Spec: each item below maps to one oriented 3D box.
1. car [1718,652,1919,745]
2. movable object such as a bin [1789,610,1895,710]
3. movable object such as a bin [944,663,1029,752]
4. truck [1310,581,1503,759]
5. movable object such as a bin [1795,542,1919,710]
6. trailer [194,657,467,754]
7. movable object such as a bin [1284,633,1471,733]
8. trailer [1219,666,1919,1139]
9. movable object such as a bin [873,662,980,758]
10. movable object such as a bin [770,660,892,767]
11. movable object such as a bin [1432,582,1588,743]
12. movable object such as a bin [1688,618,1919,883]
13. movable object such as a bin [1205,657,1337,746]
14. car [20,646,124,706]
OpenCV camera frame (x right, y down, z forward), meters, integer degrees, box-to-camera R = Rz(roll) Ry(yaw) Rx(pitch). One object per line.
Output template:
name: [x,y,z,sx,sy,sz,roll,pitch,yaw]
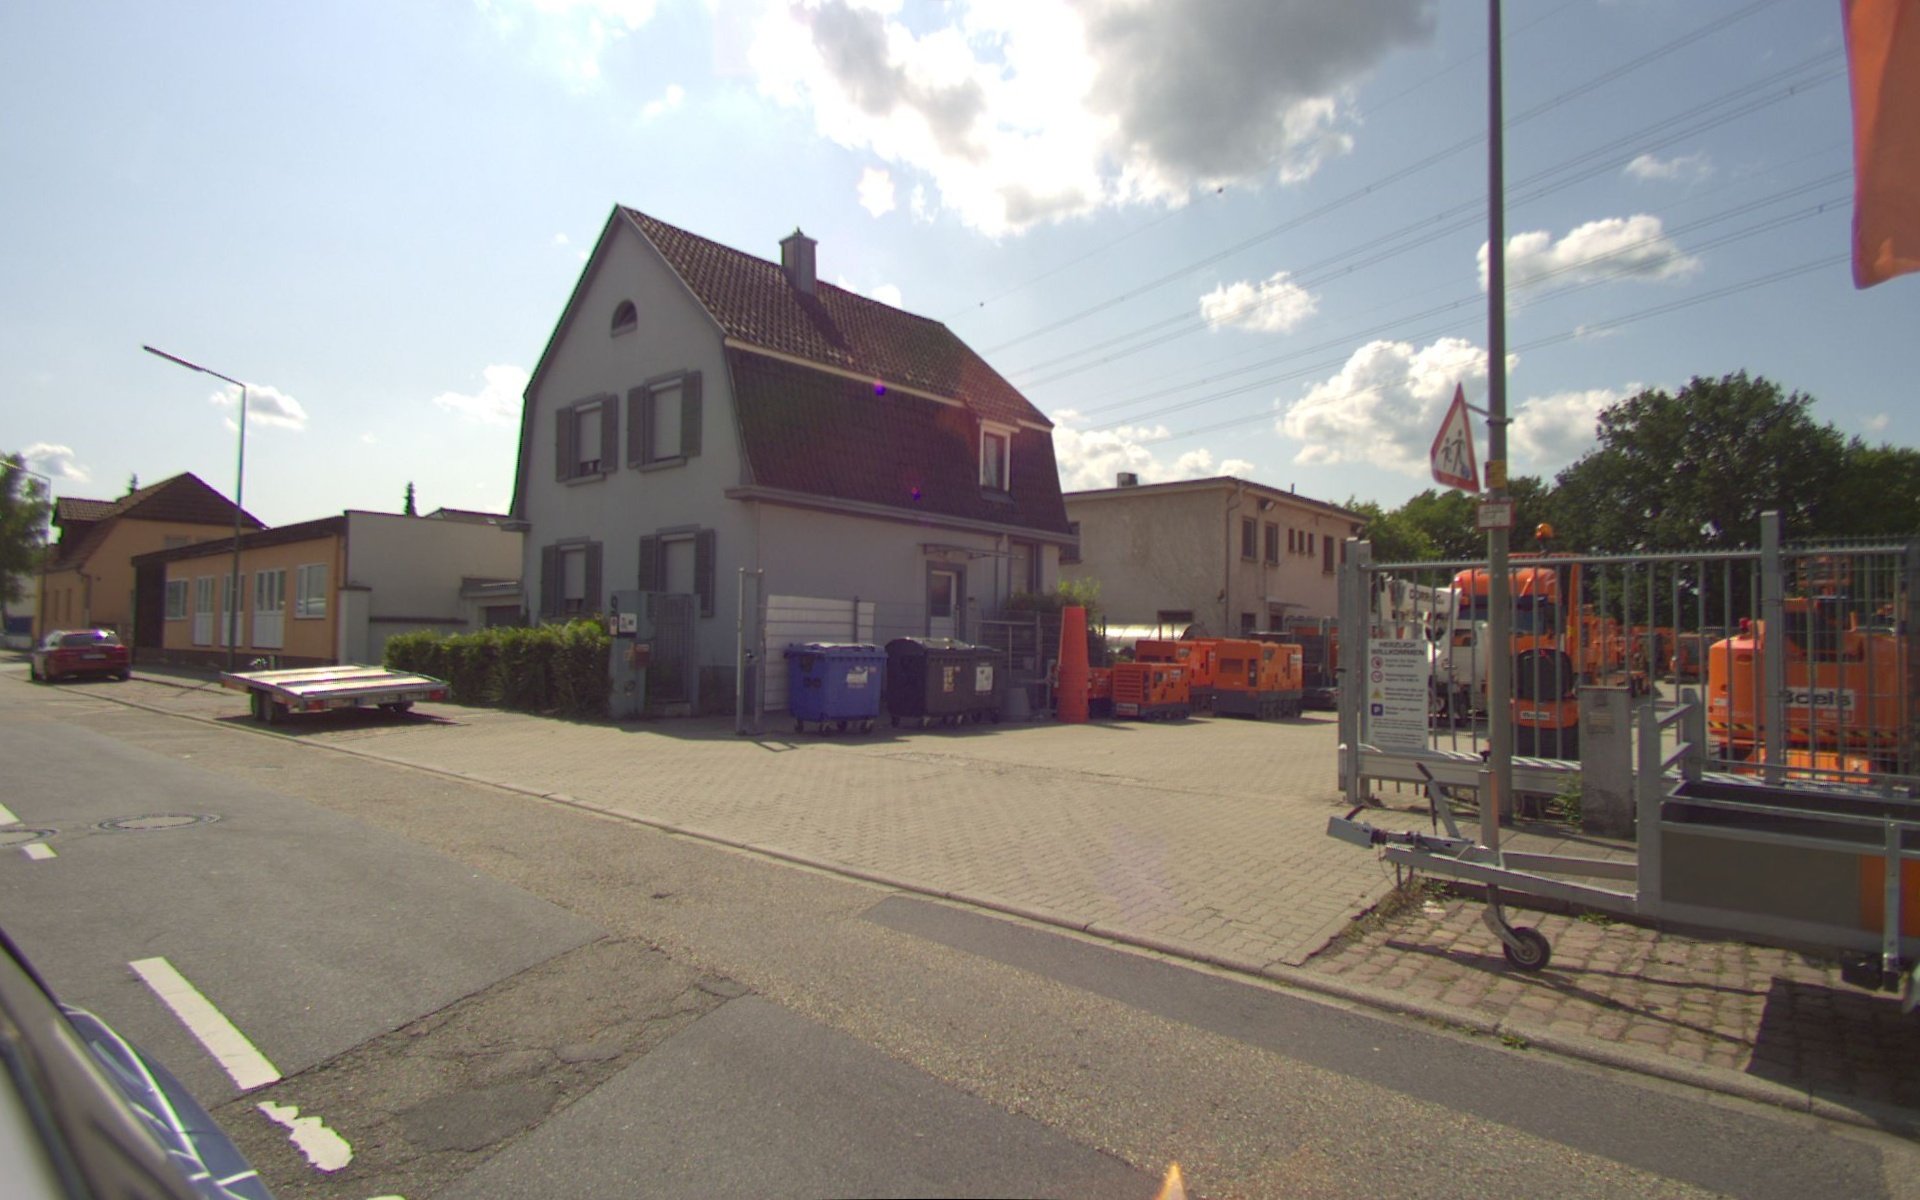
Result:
car: [22.824,2.467,25.864,5.435,2.181,1.975,-1,-4,36]
movable object such as a bin: [32.402,2.220,37.494,2.539,3.186,11.351,-2,-4,39]
movable object such as a bin: [0.459,1.826,17.484,1.003,1.454,1.075,-2,-4,40]
truck: [9.405,1.392,21.030,2.493,3.167,5.506,-1,-4,37]
movable object such as a bin: [43.713,1.428,49.308,4.492,7.216,11.961,-2,-4,39]
trailer: [-10.912,1.662,17.310,6.052,1.173,2.424,-2,-2,42]
movable object such as a bin: [11.955,2.277,28.955,4.042,2.556,3.948,-1,-4,38]
trailer: [3.714,1.039,3.853,5.049,1.387,1.749,-2,-2,42]
movable object such as a bin: [-0.534,1.738,16.416,1.150,1.438,1.303,-1,-4,38]
movable object such as a bin: [-1.878,1.610,14.802,1.187,1.438,1.303,-1,-4,38]
movable object such as a bin: [14.252,1.575,26.149,2.915,3.764,3.948,-1,-4,38]
movable object such as a bin: [8.960,1.232,10.719,1.901,2.020,6.800,-2,-2,35]
movable object such as a bin: [6.910,2.151,22.261,1.464,1.741,3.948,-1,-4,38]
car: [-25.442,2.101,28.943,4.628,1.478,1.692,-2,-1,42]
